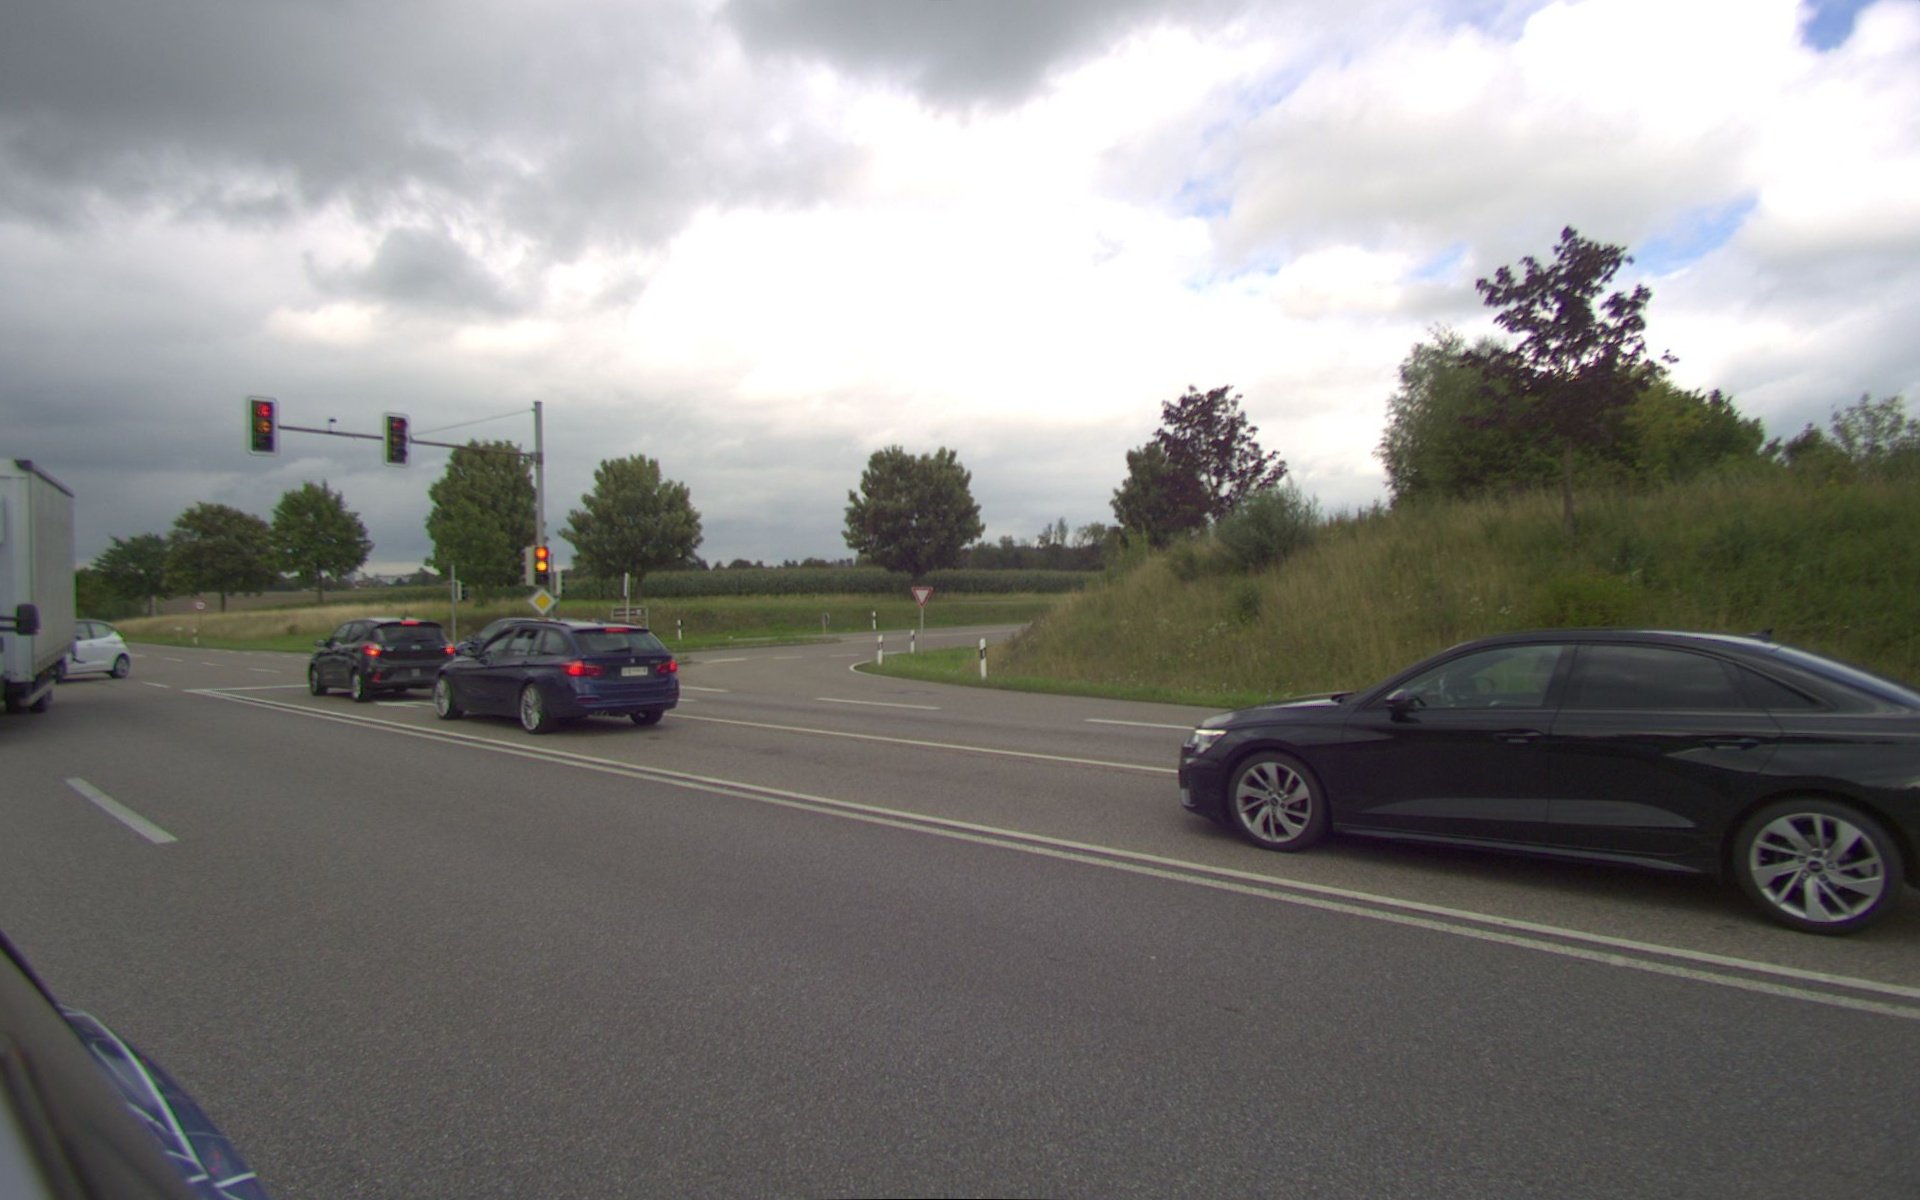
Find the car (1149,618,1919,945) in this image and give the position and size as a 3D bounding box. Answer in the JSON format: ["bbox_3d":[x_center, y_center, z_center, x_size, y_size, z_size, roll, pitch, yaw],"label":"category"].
[{"bbox_3d":[3.568,0.821,6.007,4.540,1.394,1.747,-1,-1,40],"label":"car"}]

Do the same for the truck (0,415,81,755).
[{"bbox_3d":[-14.414,-0.116,13.992,2.793,3.792,8.818,1,-1,-37],"label":"truck"}]

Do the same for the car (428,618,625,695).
[{"bbox_3d":[-9.897,1.201,22.921,5.122,1.546,2.025,-1,-1,40],"label":"car"}]

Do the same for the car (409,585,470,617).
[{"bbox_3d":[-34.574,0.068,67.187,3.991,2.029,1.977,-2,1,35],"label":"car"}]

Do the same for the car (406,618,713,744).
[{"bbox_3d":[-5.799,1.026,14.344,4.879,1.495,2.027,-1,-2,41],"label":"car"}]

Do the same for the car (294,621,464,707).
[{"bbox_3d":[-11.080,1.145,19.196,3.943,1.454,1.707,-2,-2,43],"label":"car"}]

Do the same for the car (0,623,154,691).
[{"bbox_3d":[-21.703,1.308,24.456,1.781,1.463,4.008,-1,-1,-10],"label":"car"}]
